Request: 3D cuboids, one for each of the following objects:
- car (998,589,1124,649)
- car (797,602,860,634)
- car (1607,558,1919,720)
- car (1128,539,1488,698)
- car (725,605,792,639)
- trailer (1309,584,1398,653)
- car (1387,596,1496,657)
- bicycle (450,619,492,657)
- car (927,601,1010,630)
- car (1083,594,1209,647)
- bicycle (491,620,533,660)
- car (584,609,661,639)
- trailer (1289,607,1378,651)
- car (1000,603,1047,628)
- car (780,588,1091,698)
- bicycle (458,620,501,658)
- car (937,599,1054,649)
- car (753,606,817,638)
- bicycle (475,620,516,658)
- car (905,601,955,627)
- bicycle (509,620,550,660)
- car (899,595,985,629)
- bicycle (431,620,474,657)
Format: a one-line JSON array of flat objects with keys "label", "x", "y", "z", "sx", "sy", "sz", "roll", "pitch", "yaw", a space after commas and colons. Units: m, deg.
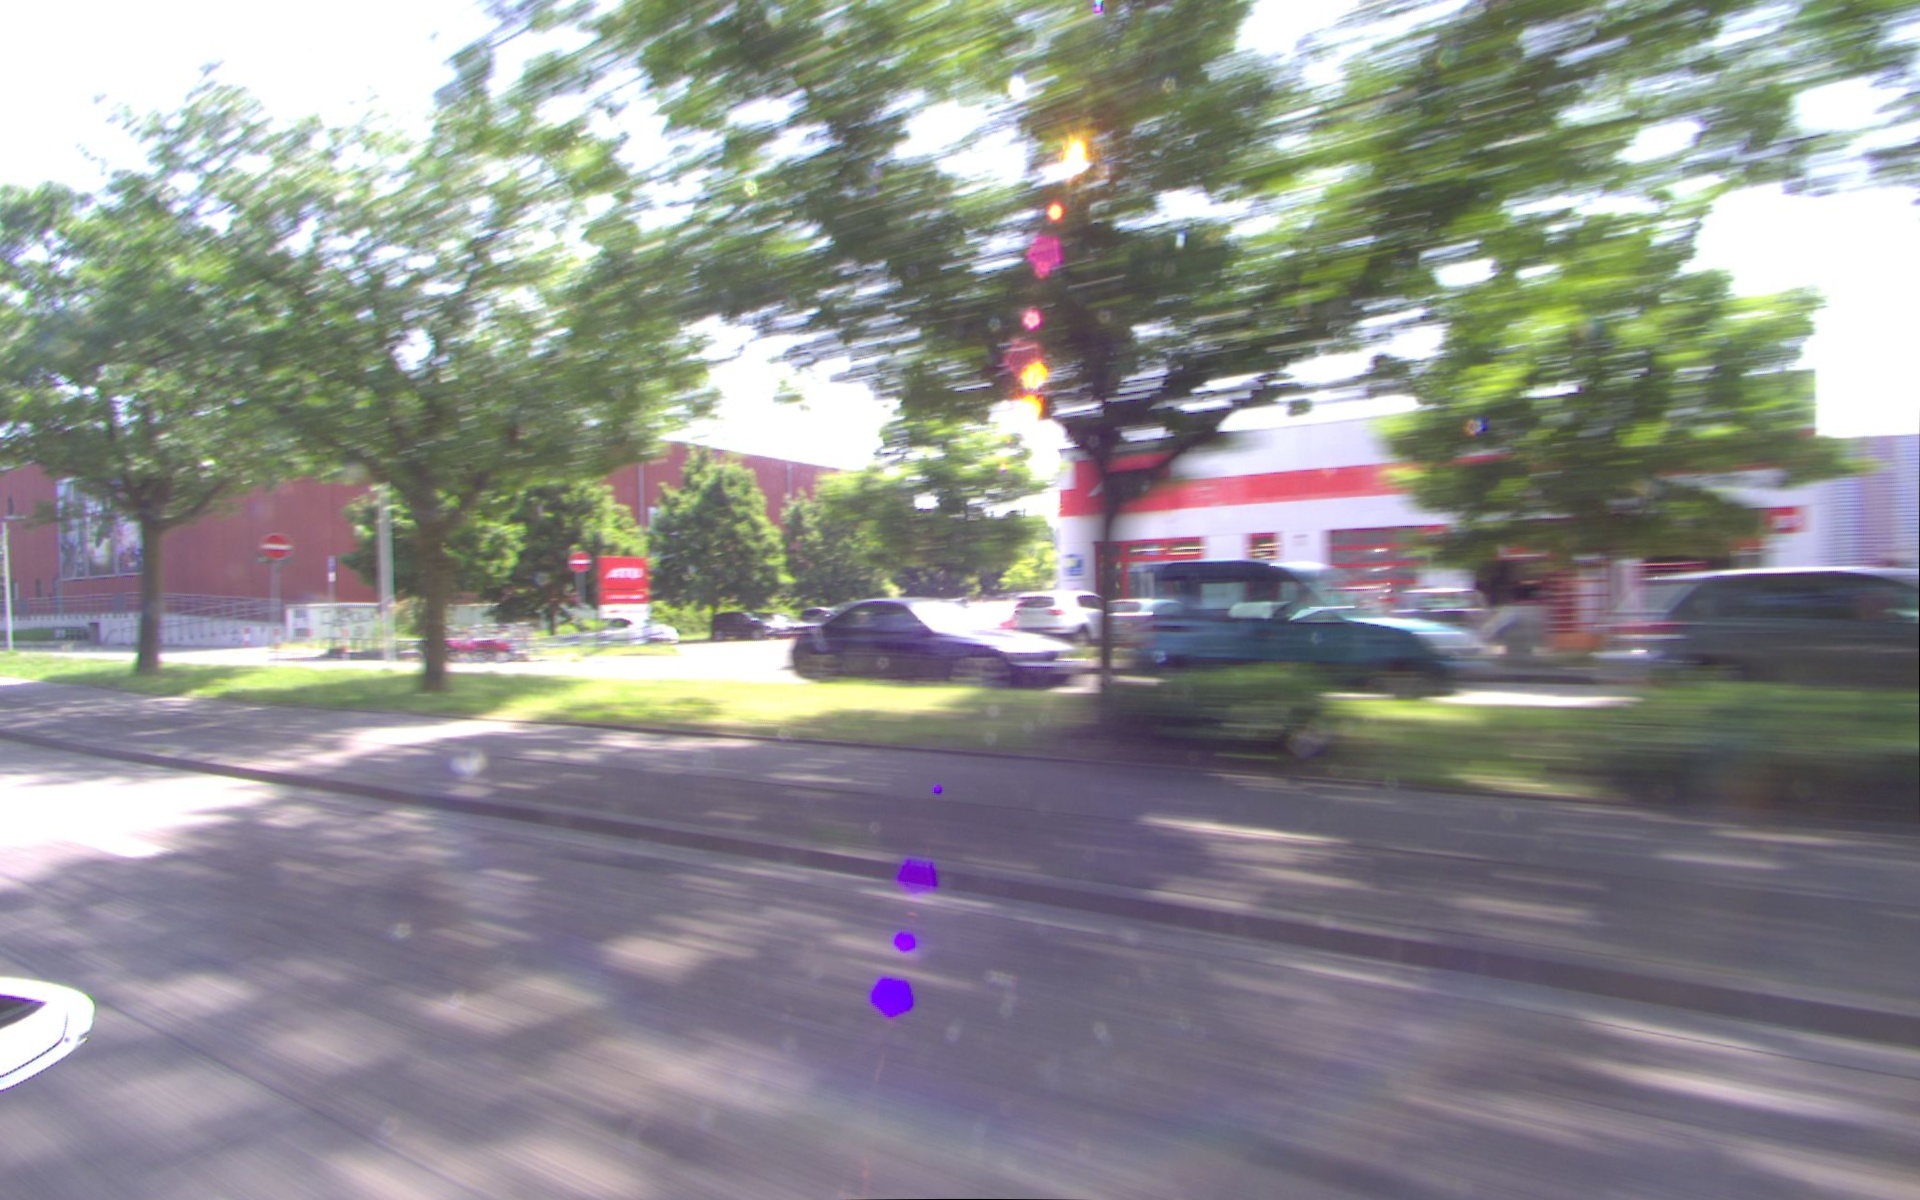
[{"label": "car", "x": 2.786, "y": 0.462, "z": 26.893, "sx": 1.913, "sy": 1.461, "sz": 3.980, "roll": -1, "pitch": 0, "yaw": 30}, {"label": "car", "x": -7.752, "y": 1.067, "z": 59.207, "sx": 3.307, "sy": 1.818, "sz": 1.569, "roll": -1, "pitch": 1, "yaw": 20}, {"label": "car", "x": 8.483, "y": 0.342, "z": 9.523, "sx": 3.848, "sy": 1.398, "sz": 1.697, "roll": -1, "pitch": 0, "yaw": 31}, {"label": "car", "x": 4.173, "y": 0.248, "z": 12.178, "sx": 3.850, "sy": 1.659, "sz": 1.697, "roll": -2, "pitch": -1, "yaw": 33}, {"label": "car", "x": -10.470, "y": 1.157, "z": 52.070, "sx": 3.147, "sy": 1.720, "sz": 1.405, "roll": -1, "pitch": 1, "yaw": 25}, {"label": "trailer", "x": 9.983, "y": 0.423, "z": 25.295, "sx": 1.393, "sy": 1.603, "sz": 3.595, "roll": 0, "pitch": 1, "yaw": 33}, {"label": "car", "x": 10.526, "y": 0.523, "z": 21.760, "sx": 1.733, "sy": 1.198, "sz": 3.794, "roll": -1, "pitch": 0, "yaw": 32}, {"label": "bicycle", "x": -14.903, "y": 1.156, "z": 30.505, "sx": 0.401, "sy": 1.099, "sz": 1.086, "roll": 0, "pitch": 1, "yaw": 32}, {"label": "car", "x": 0.431, "y": 0.807, "z": 51.334, "sx": 3.943, "sy": 1.439, "sz": 1.707, "roll": -1, "pitch": 0, "yaw": 32}, {"label": "car", "x": 4.866, "y": 0.531, "z": 25.799, "sx": 1.881, "sy": 1.237, "sz": 3.980, "roll": -2, "pitch": -1, "yaw": 31}, {"label": "bicycle", "x": -13.089, "y": 1.158, "z": 29.291, "sx": 0.342, "sy": 1.099, "sz": 1.086, "roll": 0, "pitch": 1, "yaw": 32}, {"label": "car", "x": -15.863, "y": 1.129, "z": 47.020, "sx": 3.817, "sy": 1.307, "sz": 1.408, "roll": -1, "pitch": 1, "yaw": 34}, {"label": "trailer", "x": 8.393, "y": 0.643, "z": 22.408, "sx": 1.361, "sy": 0.922, "sz": 2.708, "roll": -1, "pitch": -2, "yaw": 32}, {"label": "car", "x": 4.922, "y": 1.200, "z": 77.523, "sx": 3.307, "sy": 1.818, "sz": 1.569, "roll": -1, "pitch": 1, "yaw": 20}, {"label": "car", "x": -0.471, "y": 0.625, "z": 15.124, "sx": 4.592, "sy": 1.443, "sz": 1.695, "roll": -2, "pitch": -1, "yaw": 35}, {"label": "bicycle", "x": -14.416, "y": 1.168, "z": 30.068, "sx": 0.401, "sy": 1.099, "sz": 1.086, "roll": 0, "pitch": 1, "yaw": 32}, {"label": "car", "x": 1.085, "y": 0.737, "z": 28.630, "sx": 1.794, "sy": 1.323, "sz": 3.559, "roll": -1, "pitch": -3, "yaw": 33}, {"label": "car", "x": -9.581, "y": 1.201, "z": 54.854, "sx": 3.321, "sy": 1.662, "sz": 1.563, "roll": -1, "pitch": 1, "yaw": 36}, {"label": "bicycle", "x": -13.807, "y": 1.151, "z": 29.766, "sx": 0.342, "sy": 1.099, "sz": 1.086, "roll": 0, "pitch": 1, "yaw": 32}, {"label": "car", "x": -2.121, "y": 0.994, "z": 70.053, "sx": 3.328, "sy": 1.817, "sz": 1.560, "roll": -1, "pitch": -1, "yaw": 42}, {"label": "bicycle", "x": -12.492, "y": 1.153, "z": 29.077, "sx": 0.342, "sy": 1.099, "sz": 1.086, "roll": 0, "pitch": 1, "yaw": 32}, {"label": "car", "x": -0.906, "y": 0.595, "z": 49.574, "sx": 3.943, "sy": 1.641, "sz": 1.707, "roll": -1, "pitch": 0, "yaw": 32}, {"label": "bicycle", "x": -15.624, "y": 1.176, "z": 30.842, "sx": 0.401, "sy": 1.099, "sz": 1.086, "roll": 0, "pitch": 1, "yaw": 32}]
